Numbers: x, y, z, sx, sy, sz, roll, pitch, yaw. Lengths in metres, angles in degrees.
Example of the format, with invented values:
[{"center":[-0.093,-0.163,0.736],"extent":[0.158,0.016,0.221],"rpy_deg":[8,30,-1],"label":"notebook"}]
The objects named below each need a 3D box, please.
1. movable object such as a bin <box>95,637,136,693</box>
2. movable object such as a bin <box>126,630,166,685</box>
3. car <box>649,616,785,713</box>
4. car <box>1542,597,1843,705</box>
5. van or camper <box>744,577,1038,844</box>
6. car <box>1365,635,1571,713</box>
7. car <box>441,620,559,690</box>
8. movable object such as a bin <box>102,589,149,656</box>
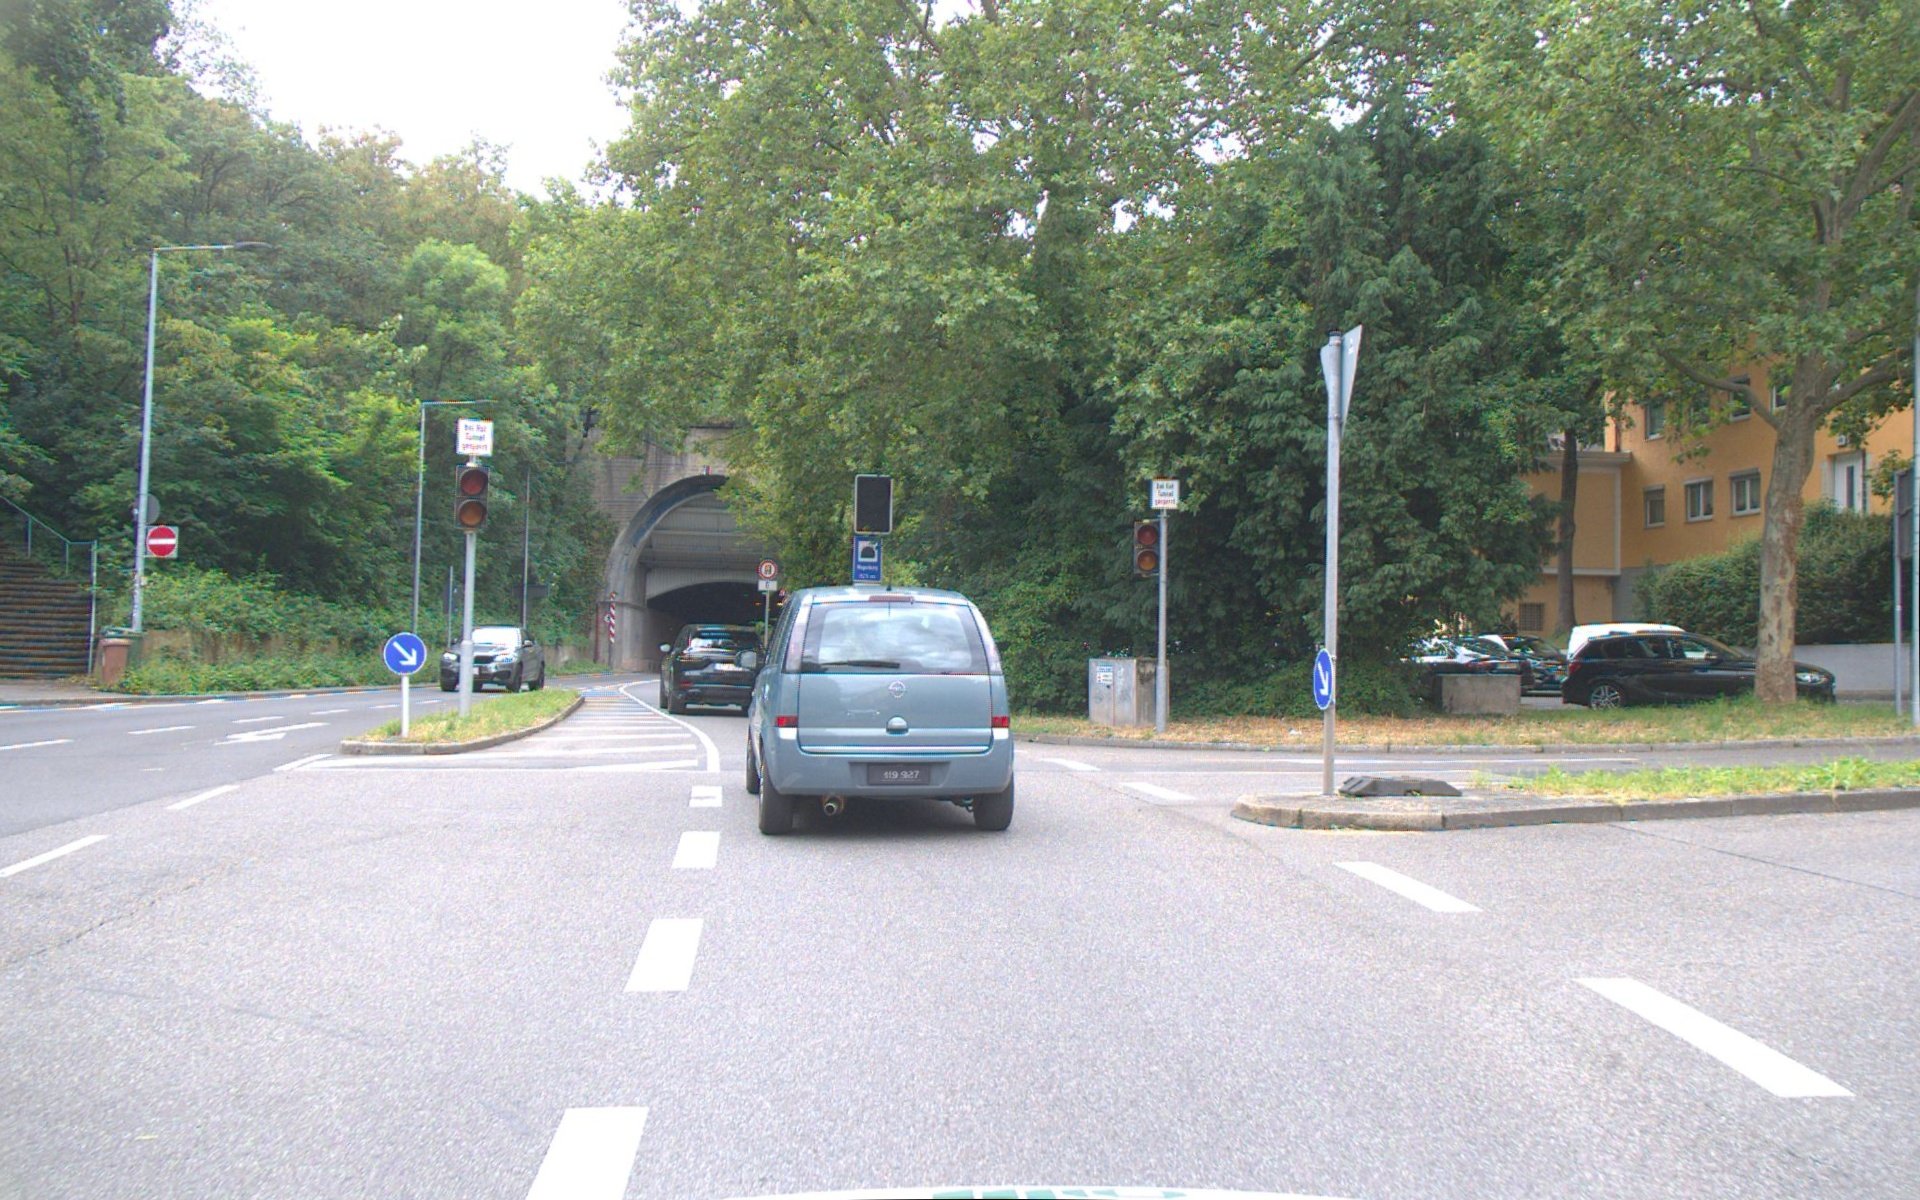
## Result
[{"center":[-15.495,1.189,30.345],"extent":[0.507,0.984,0.443],"rpy_deg":[4,-2,-14],"label":"movable object such as a bin"},{"center":[-16.019,1.137,32.572],"extent":[0.546,1.043,0.429],"rpy_deg":[4,-2,-14],"label":"movable object such as a bin"},{"center":[-4.702,1.235,31.528],"extent":[1.962,1.682,3.980],"rpy_deg":[2,-3,-17],"label":"car"},{"center":[12.319,0.877,27.908],"extent":[4.334,1.511,1.857],"rpy_deg":[-5,-2,34],"label":"car"},{"center":[-0.645,0.668,11.894],"extent":[1.703,1.605,3.638],"rpy_deg":[0,0,-9],"label":"van or camper"},{"center":[11.159,1.596,36.729],"extent":[1.962,1.606,4.879],"rpy_deg":[0,-2,-18],"label":"car"},{"center":[-12.001,1.433,43.478],"extent":[1.832,1.728,4.933],"rpy_deg":[1,-2,-2],"label":"car"},{"center":[-15.616,0.429,30.961],"extent":[0.594,1.206,0.490],"rpy_deg":[4,-2,-14],"label":"movable object such as a bin"}]
